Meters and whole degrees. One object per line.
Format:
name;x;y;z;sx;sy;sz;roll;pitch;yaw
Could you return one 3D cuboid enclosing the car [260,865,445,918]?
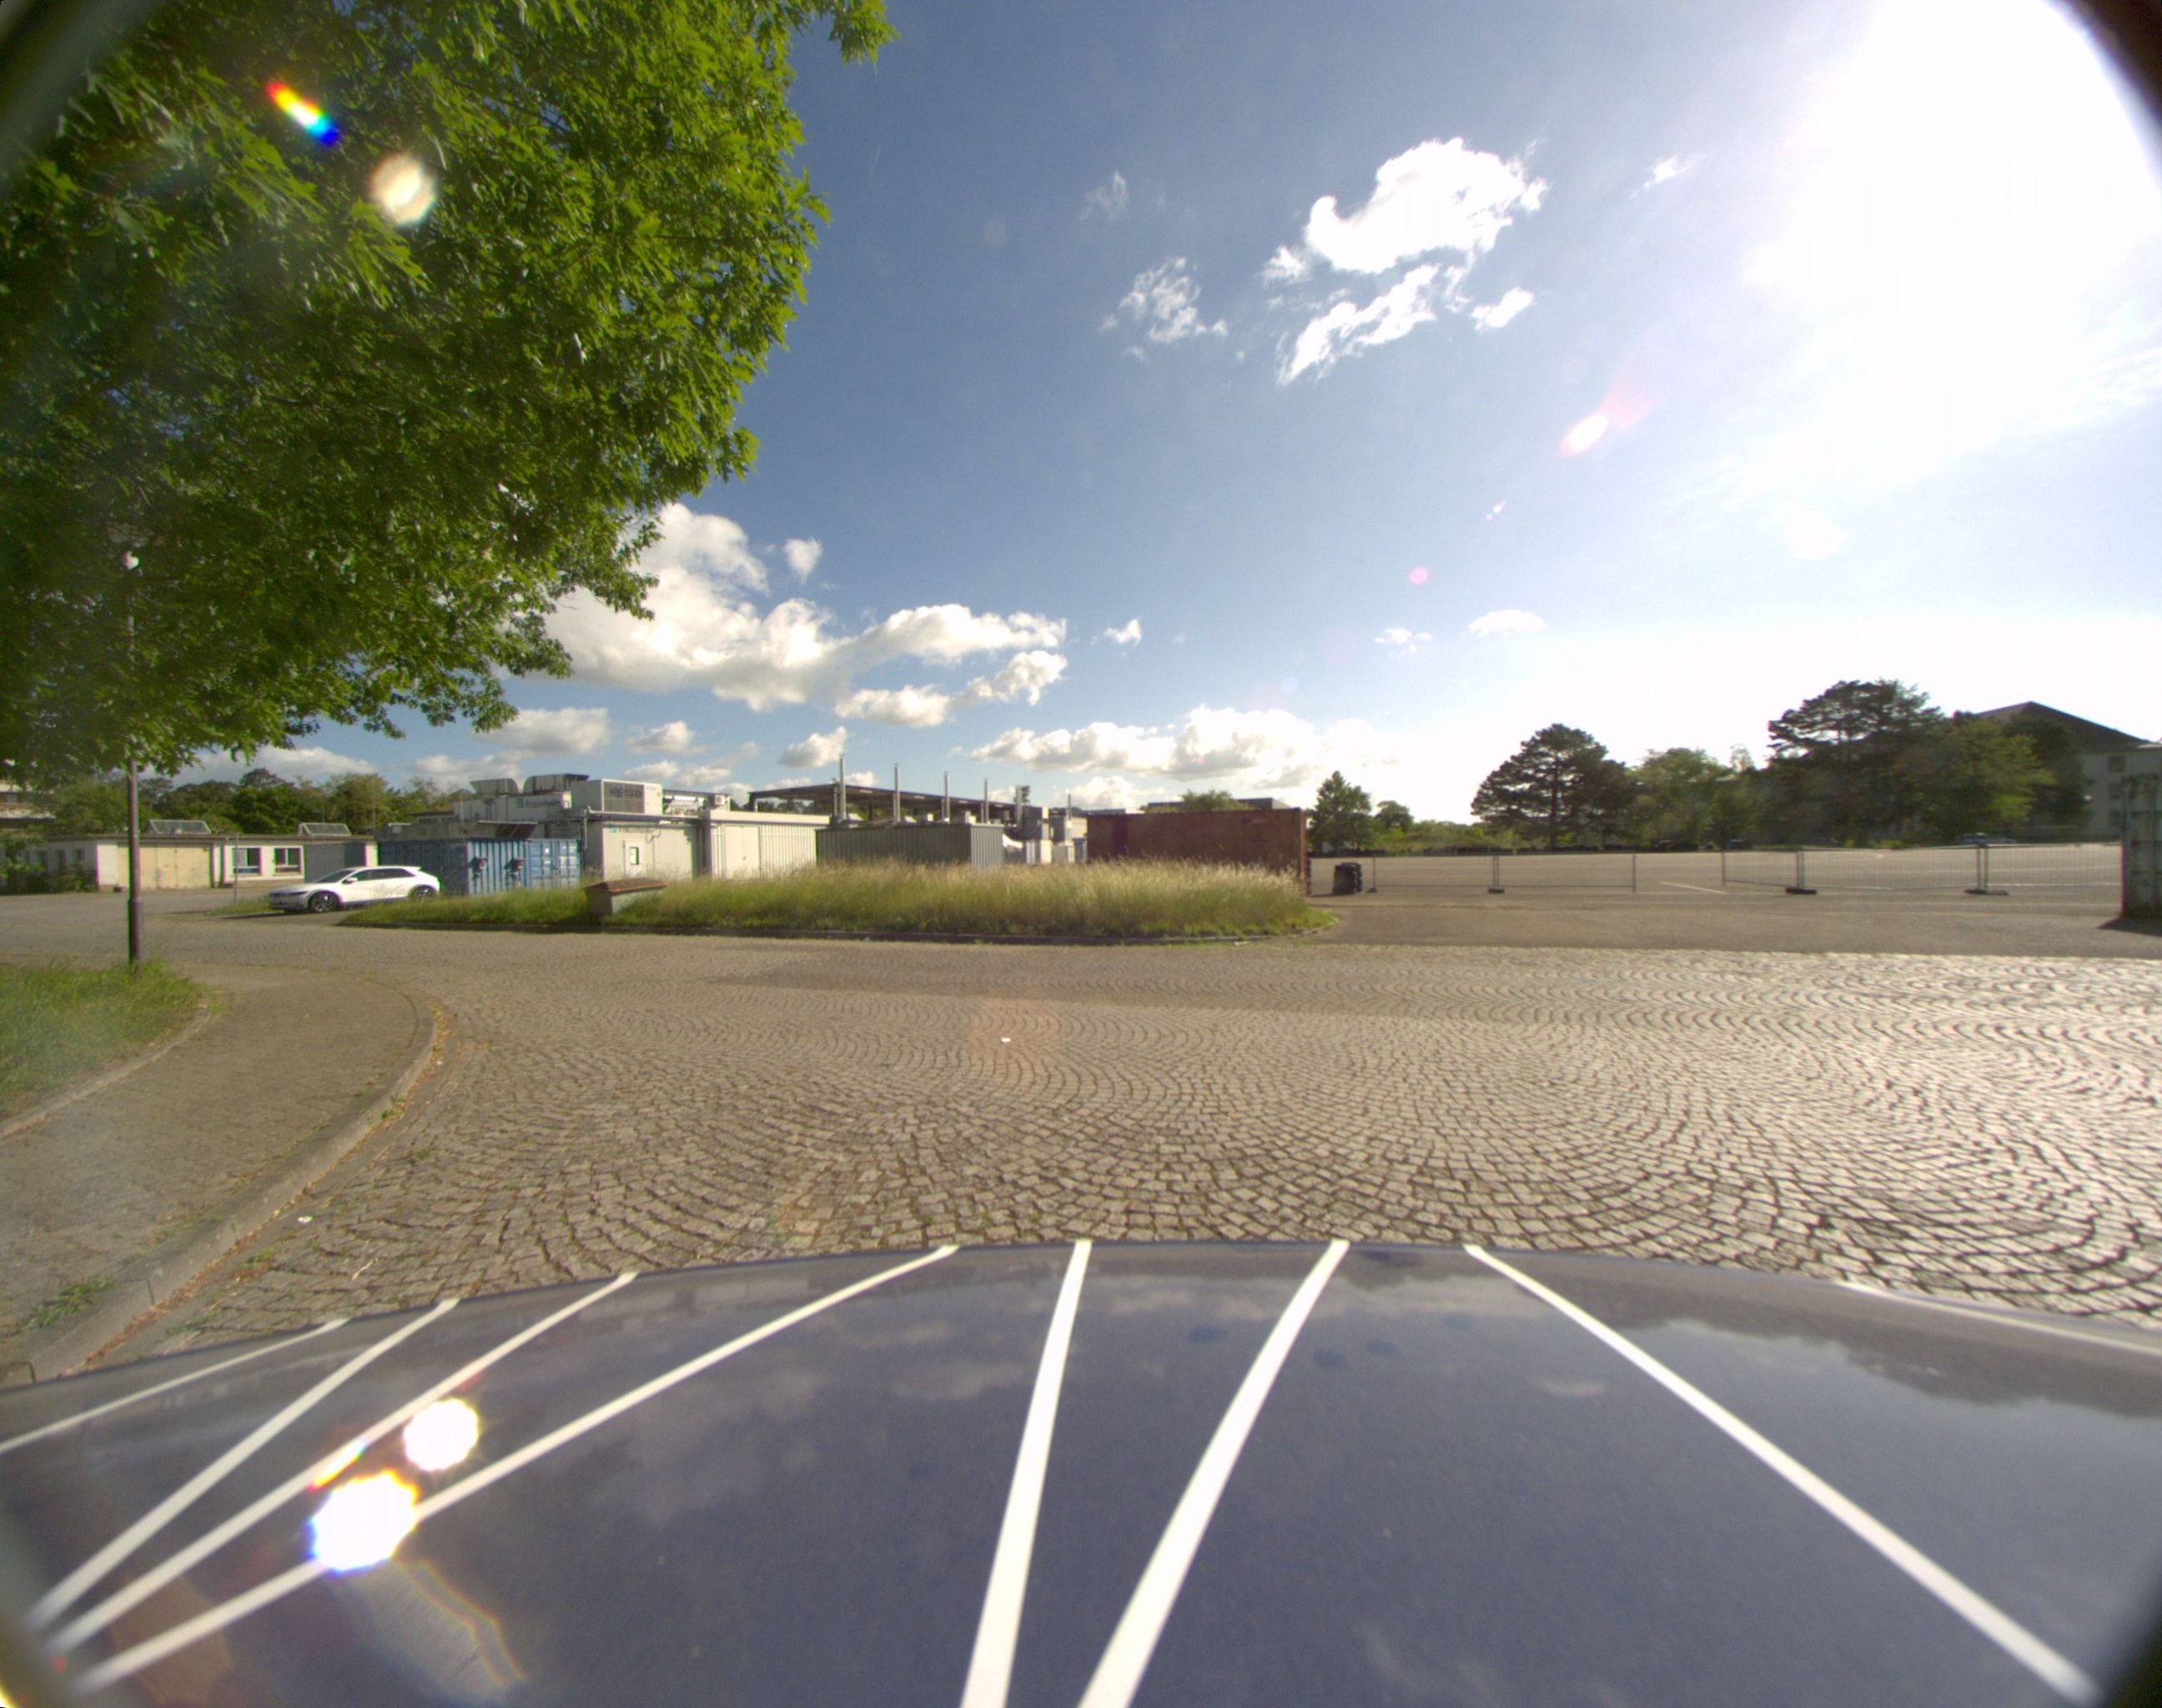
car;-26.811;1.329;28.198;1.820;1.584;4.526;-2;1;20
